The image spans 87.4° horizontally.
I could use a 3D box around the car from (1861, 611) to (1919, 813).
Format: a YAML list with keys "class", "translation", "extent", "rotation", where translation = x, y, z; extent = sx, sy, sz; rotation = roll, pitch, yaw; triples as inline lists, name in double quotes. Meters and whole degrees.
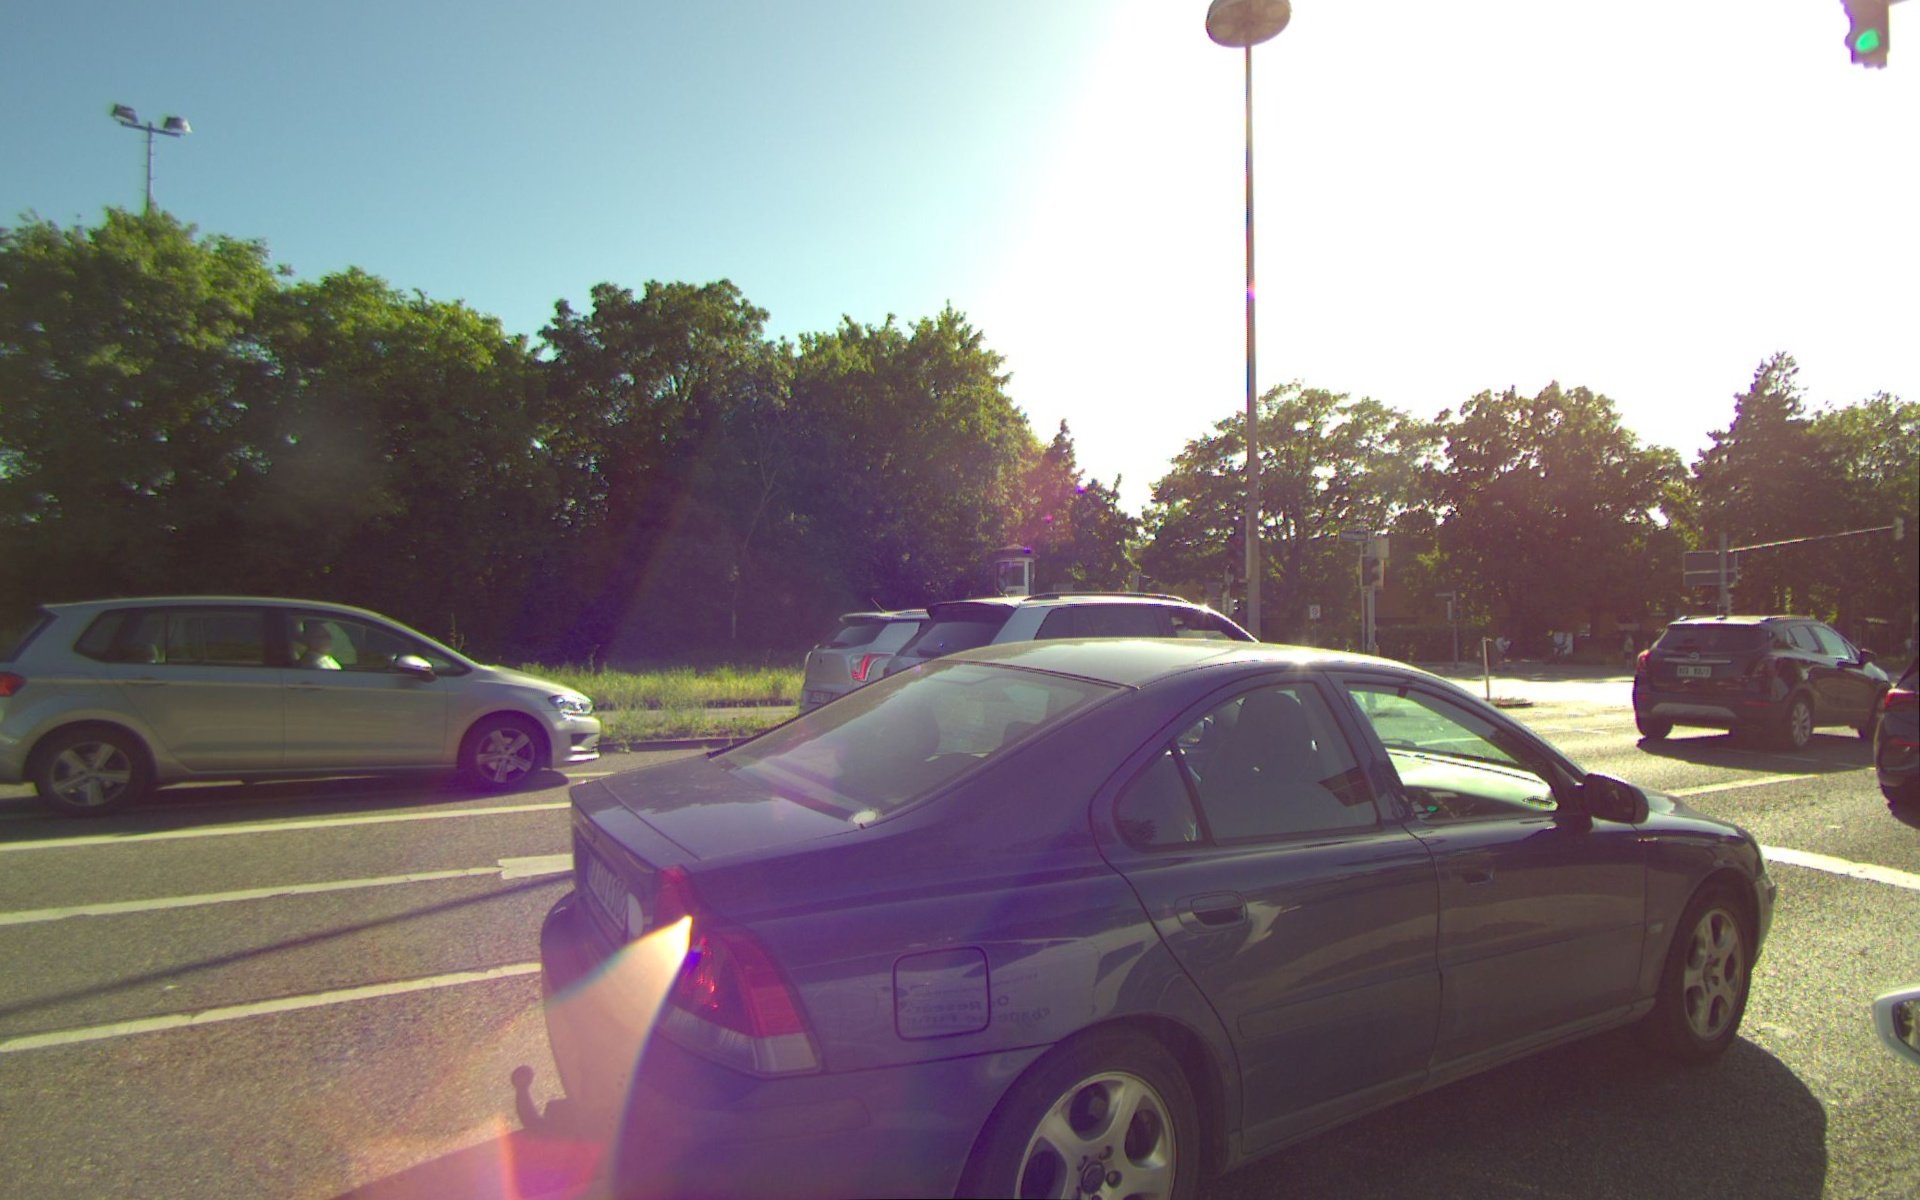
- class: "car"
  translation: [9.674, 0.959, 8.633]
  extent: [4.158, 1.601, 1.676]
  rotation: [2, -1, -30]

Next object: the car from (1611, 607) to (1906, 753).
- class: "car"
  translation: [10.786, 1.008, 13.539]
  extent: [3.953, 1.711, 1.796]
  rotation: [1, -2, -30]

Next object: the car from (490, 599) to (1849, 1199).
- class: "car"
  translation: [0.937, 0.818, 3.372]
  extent: [4.404, 1.471, 1.767]
  rotation: [2, 0, -30]

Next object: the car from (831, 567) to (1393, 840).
- class: "car"
  translation: [1.331, 0.737, 8.359]
  extent: [4.373, 1.732, 1.984]
  rotation: [2, -2, -30]

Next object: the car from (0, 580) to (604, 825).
- class: "car"
  translation: [-5.308, 0.753, 8.393]
  extent: [4.156, 1.632, 1.822]
  rotation: [1, -2, -29]

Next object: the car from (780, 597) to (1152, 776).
- class: "car"
  translation: [0.126, 0.910, 11.549]
  extent: [3.956, 1.724, 1.820]
  rotation: [2, -2, -32]
